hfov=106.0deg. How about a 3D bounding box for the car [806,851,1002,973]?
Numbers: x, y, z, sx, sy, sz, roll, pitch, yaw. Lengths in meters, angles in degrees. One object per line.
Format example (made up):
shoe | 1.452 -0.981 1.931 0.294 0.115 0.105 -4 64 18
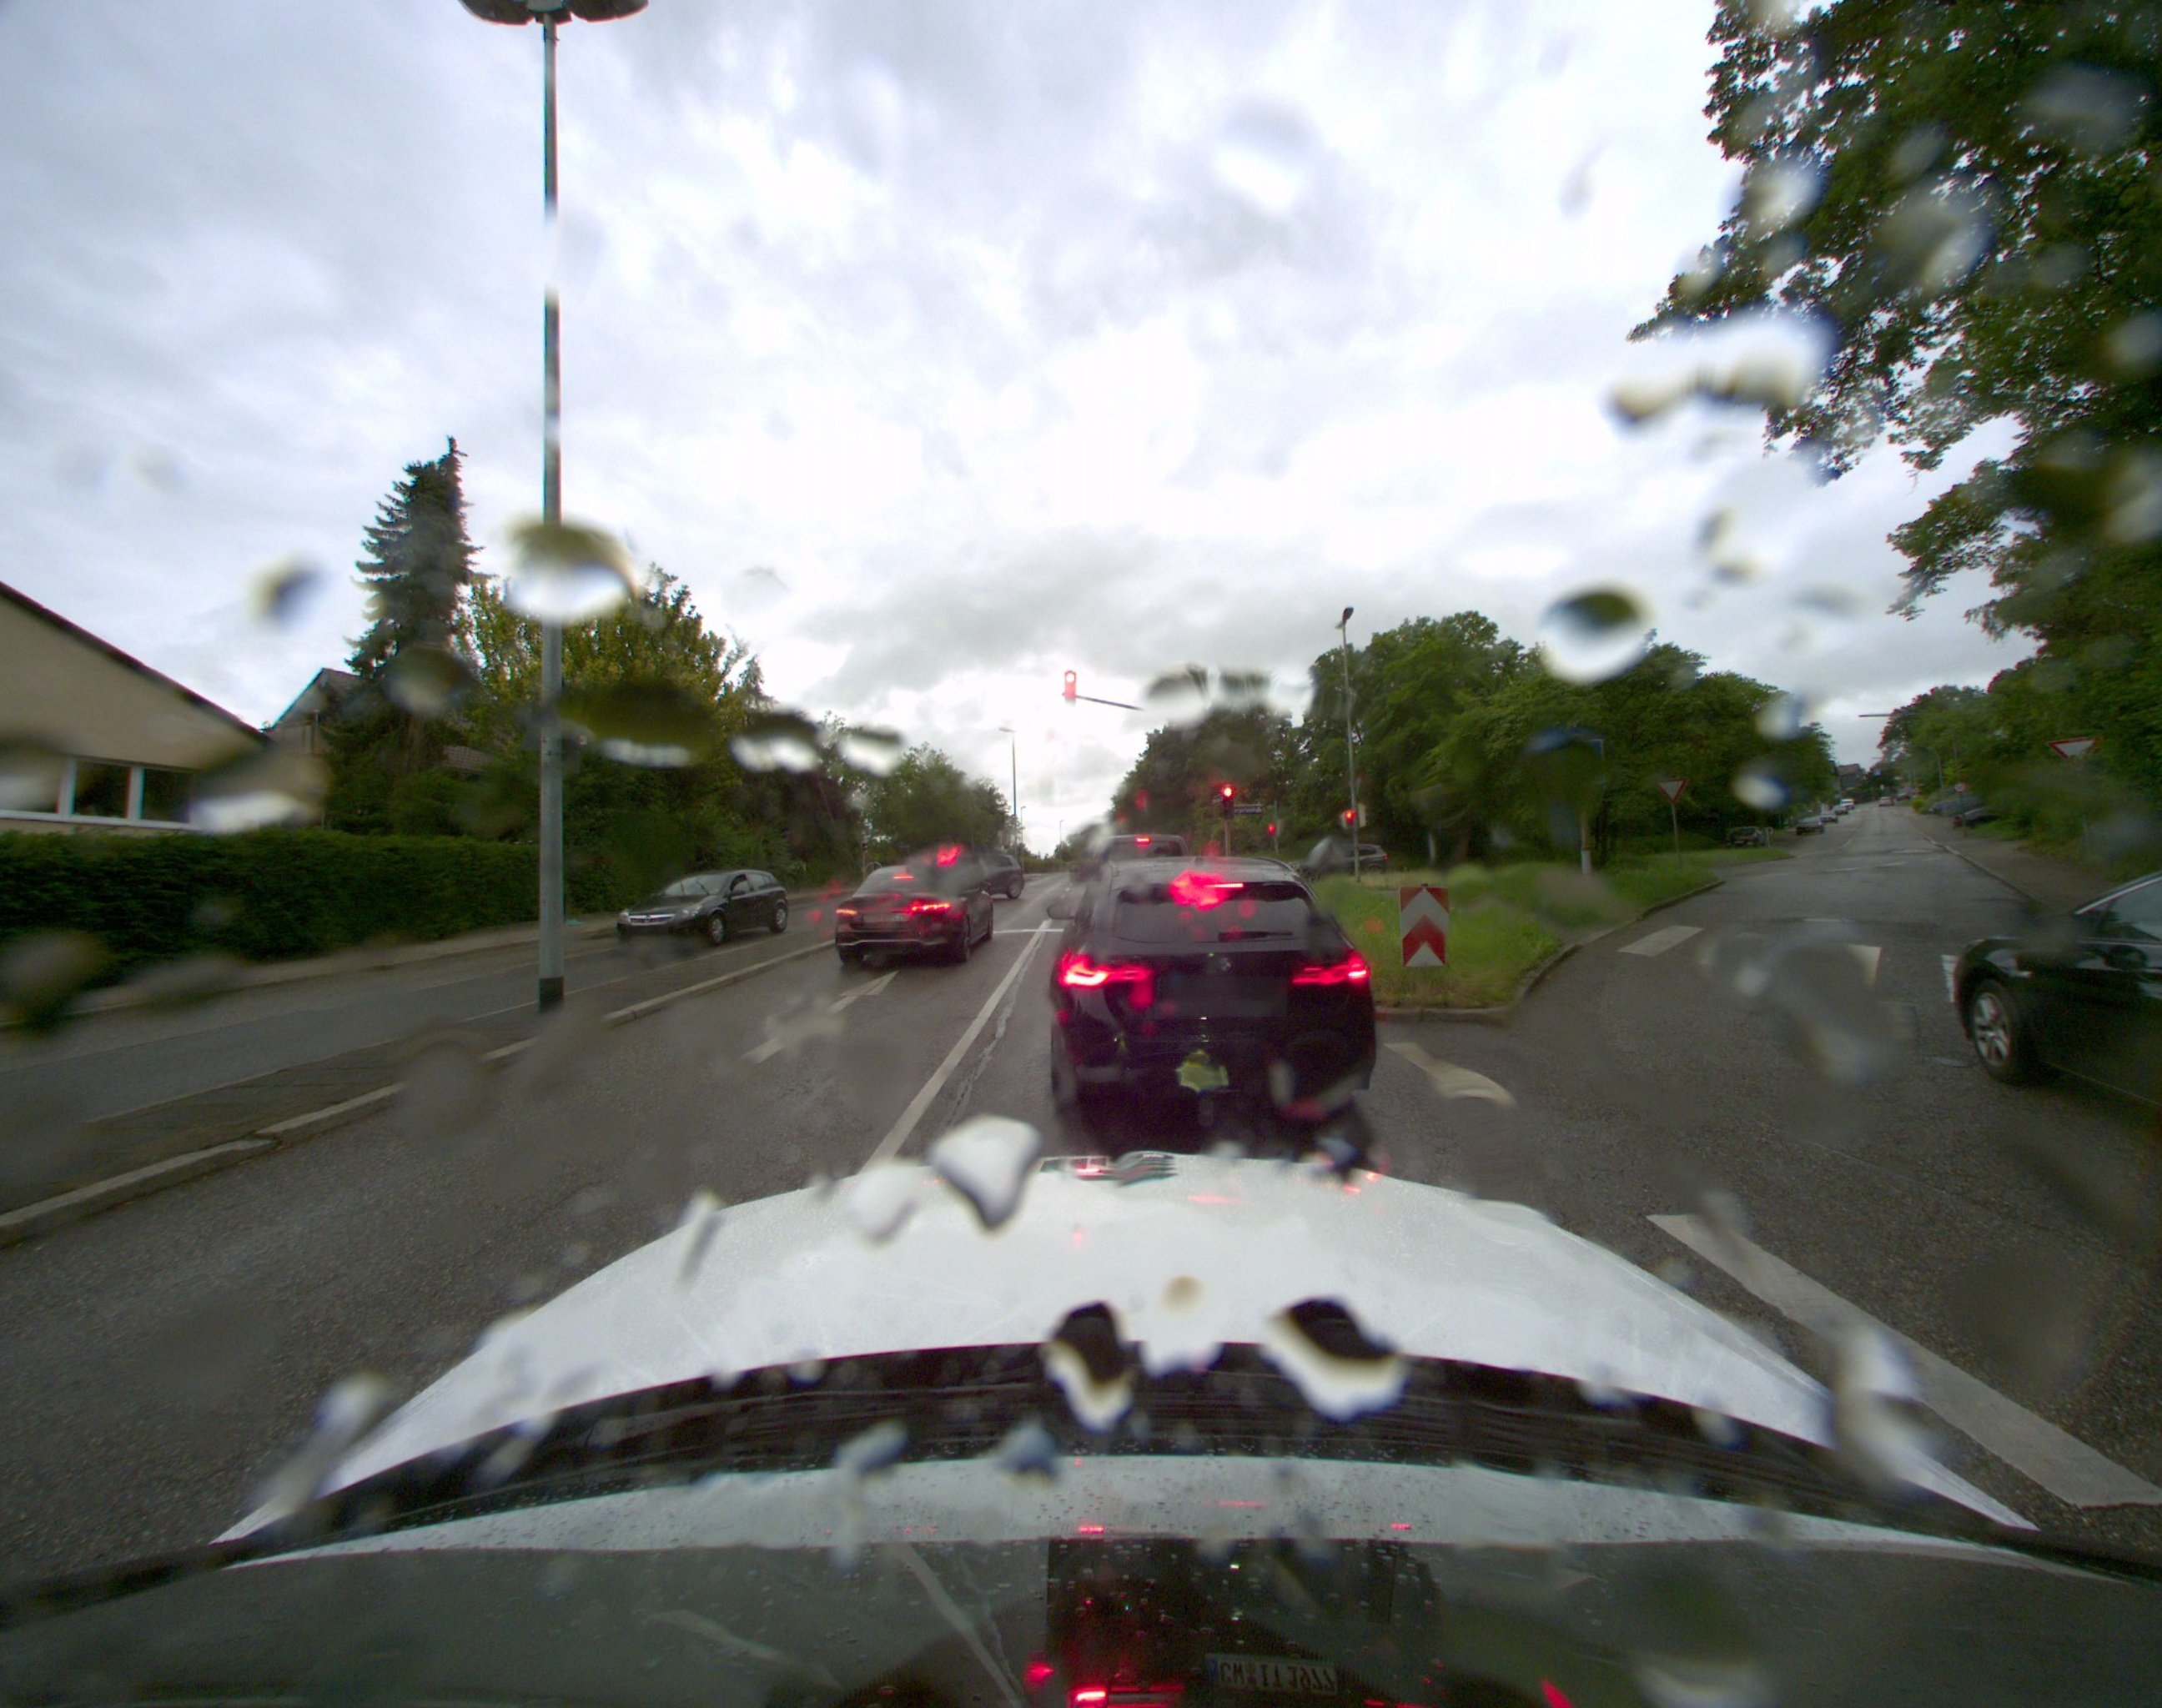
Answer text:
car | -2.609 0.797 13.210 1.986 1.527 4.330 -4 -1 2

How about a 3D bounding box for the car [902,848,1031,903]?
car | -3.821 0.699 27.598 1.726 1.602 4.056 -4 0 44

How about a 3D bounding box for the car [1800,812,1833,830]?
car | 66.270 -2.937 73.383 4.318 1.450 1.881 0 -1 -44

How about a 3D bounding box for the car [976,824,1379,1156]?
car | 0.659 0.683 6.190 1.889 1.551 4.621 -1 -1 5

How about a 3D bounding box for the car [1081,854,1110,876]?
car | 1.027 0.782 59.396 1.694 1.427 3.508 -4 -1 -4

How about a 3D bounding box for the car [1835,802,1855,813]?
car | 114.476 -6.904 122.036 1.880 1.397 4.193 -2 -1 40

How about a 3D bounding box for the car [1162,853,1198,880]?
car | 6.335 0.778 52.404 1.866 1.542 3.954 -4 -1 2

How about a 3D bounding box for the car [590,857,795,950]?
car | -7.568 0.891 16.374 1.887 1.509 4.005 -3 0 4

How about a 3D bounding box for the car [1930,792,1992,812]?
car | 87.604 -5.173 81.154 3.949 1.574 1.785 -4 -1 42

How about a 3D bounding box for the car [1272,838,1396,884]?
car | 10.921 0.288 35.306 4.699 1.717 1.995 -3 0 -8

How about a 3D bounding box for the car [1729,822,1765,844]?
car | 46.023 -1.447 56.267 1.655 1.370 3.512 -3 0 43

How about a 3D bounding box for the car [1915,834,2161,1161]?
car | 5.626 0.628 3.309 1.795 1.443 4.187 0 0 26

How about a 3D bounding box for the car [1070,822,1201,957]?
car | 0.845 0.509 13.443 1.811 1.868 3.954 -1 0 2

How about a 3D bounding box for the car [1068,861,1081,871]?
car | -1.247 2.313 163.460 1.982 1.826 4.009 -4 -1 8

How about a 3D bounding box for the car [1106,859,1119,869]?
car | 5.569 1.773 143.046 1.983 1.624 3.959 -4 -1 6

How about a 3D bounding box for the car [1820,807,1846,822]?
car | 88.193 -4.589 95.513 1.971 1.446 4.321 -2 -1 40
